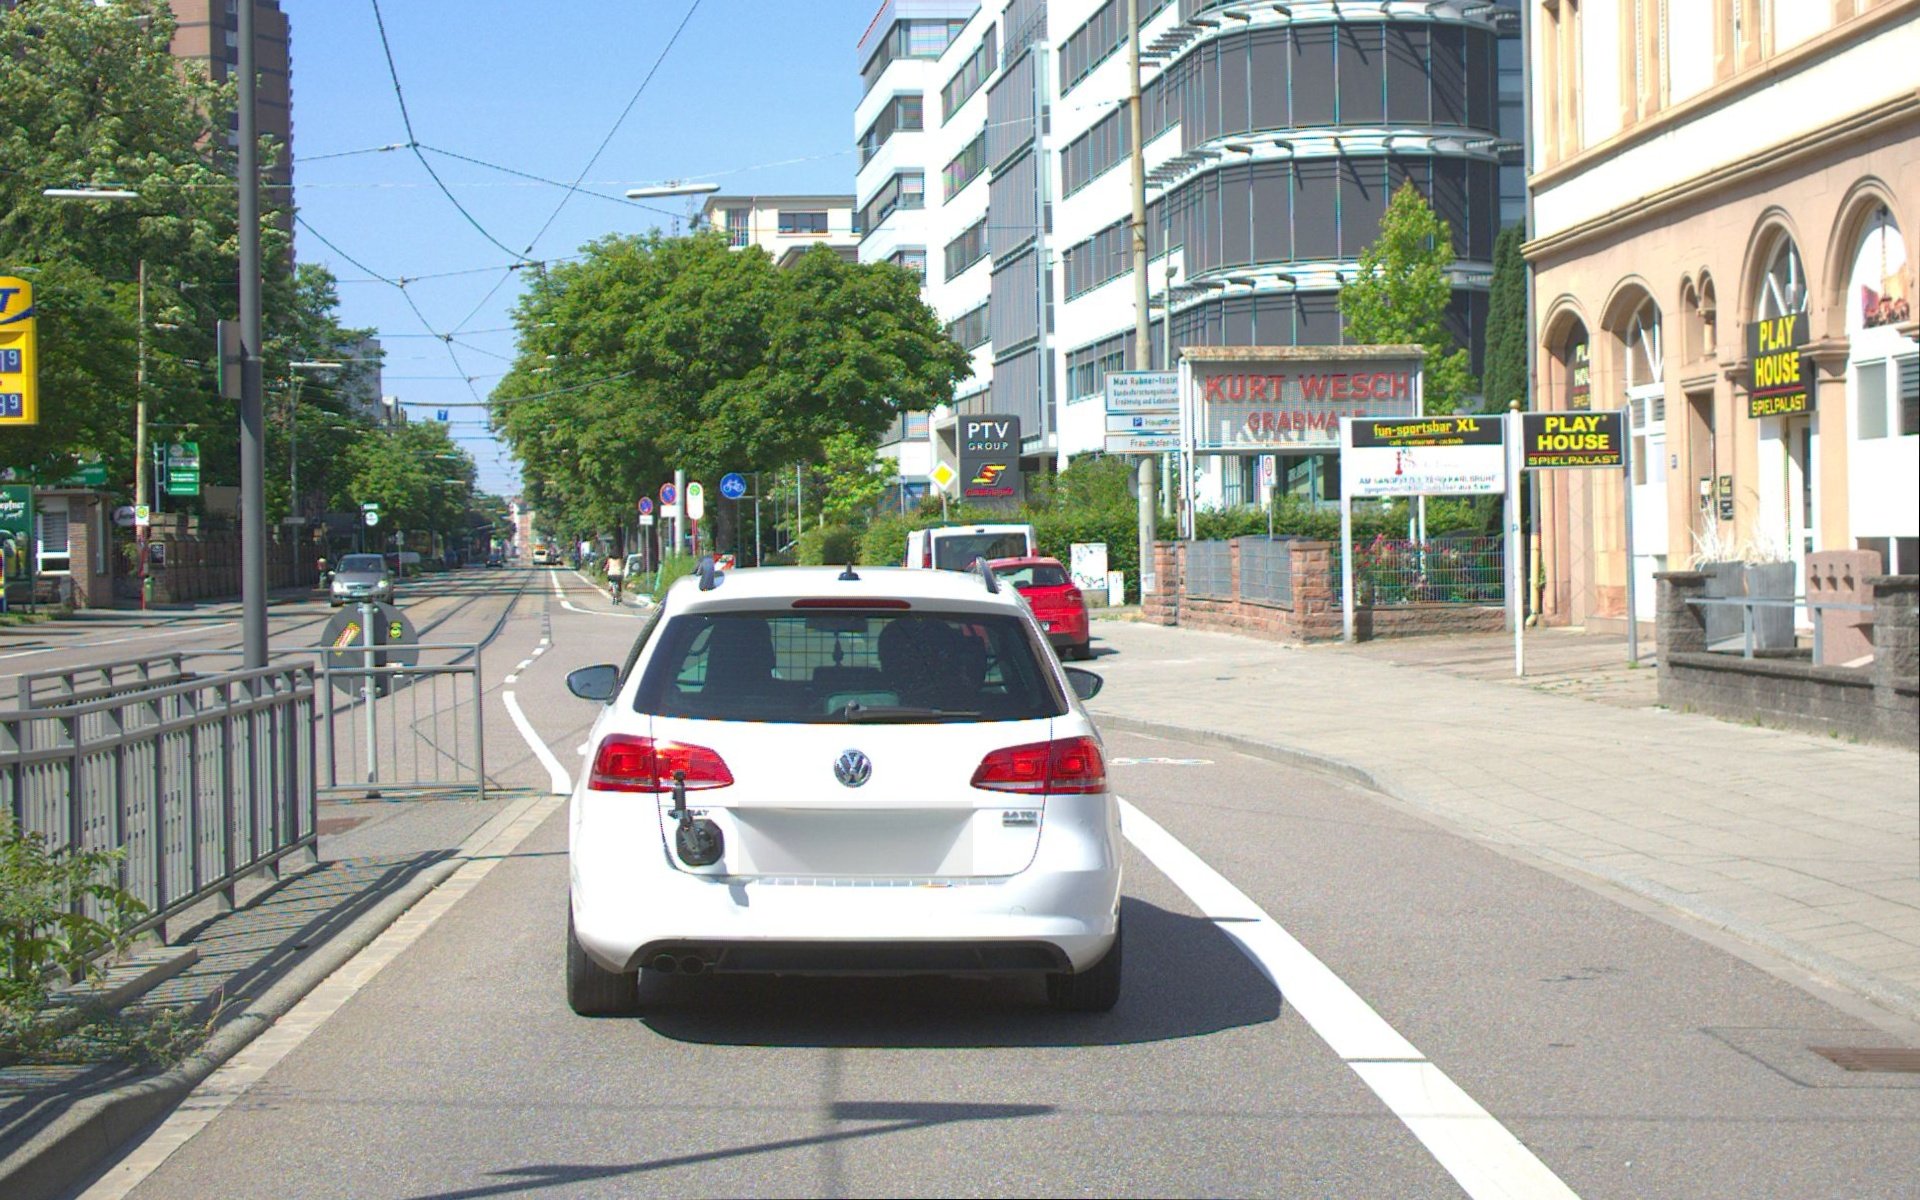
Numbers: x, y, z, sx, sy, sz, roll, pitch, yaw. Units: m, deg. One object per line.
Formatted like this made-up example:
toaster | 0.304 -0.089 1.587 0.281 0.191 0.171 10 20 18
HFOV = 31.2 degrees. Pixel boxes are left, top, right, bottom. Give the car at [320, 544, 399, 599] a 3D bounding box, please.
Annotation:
car | -18.135 -0.862 103.983 1.746 1.566 3.892 -2 0 -1

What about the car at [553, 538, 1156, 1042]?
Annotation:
car | -0.493 0.508 12.190 1.753 1.437 4.413 0 1 -5

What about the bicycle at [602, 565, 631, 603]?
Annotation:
bicycle | -10.141 -0.474 101.463 0.811 1.074 2.012 -1 1 -6

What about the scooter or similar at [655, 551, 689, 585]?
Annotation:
scooter or similar | -10.052 -1.120 120.064 1.143 1.150 0.493 -1 1 -1

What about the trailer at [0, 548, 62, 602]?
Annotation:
trailer | -27.431 -0.707 98.136 3.215 1.520 1.778 -1 1 -5

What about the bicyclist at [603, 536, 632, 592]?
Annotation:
bicyclist | -10.132 -1.065 101.654 0.785 1.623 0.738 3 0 -6

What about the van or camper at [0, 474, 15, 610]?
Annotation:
van or camper | -24.224 -1.366 74.544 6.691 2.957 2.617 2 1 0

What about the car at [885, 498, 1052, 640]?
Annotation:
car | 0.070 -0.500 54.483 1.976 2.047 5.192 -3 1 -6

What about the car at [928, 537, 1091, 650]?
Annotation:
car | 0.649 -0.120 48.285 1.721 1.438 4.313 -3 1 -6
